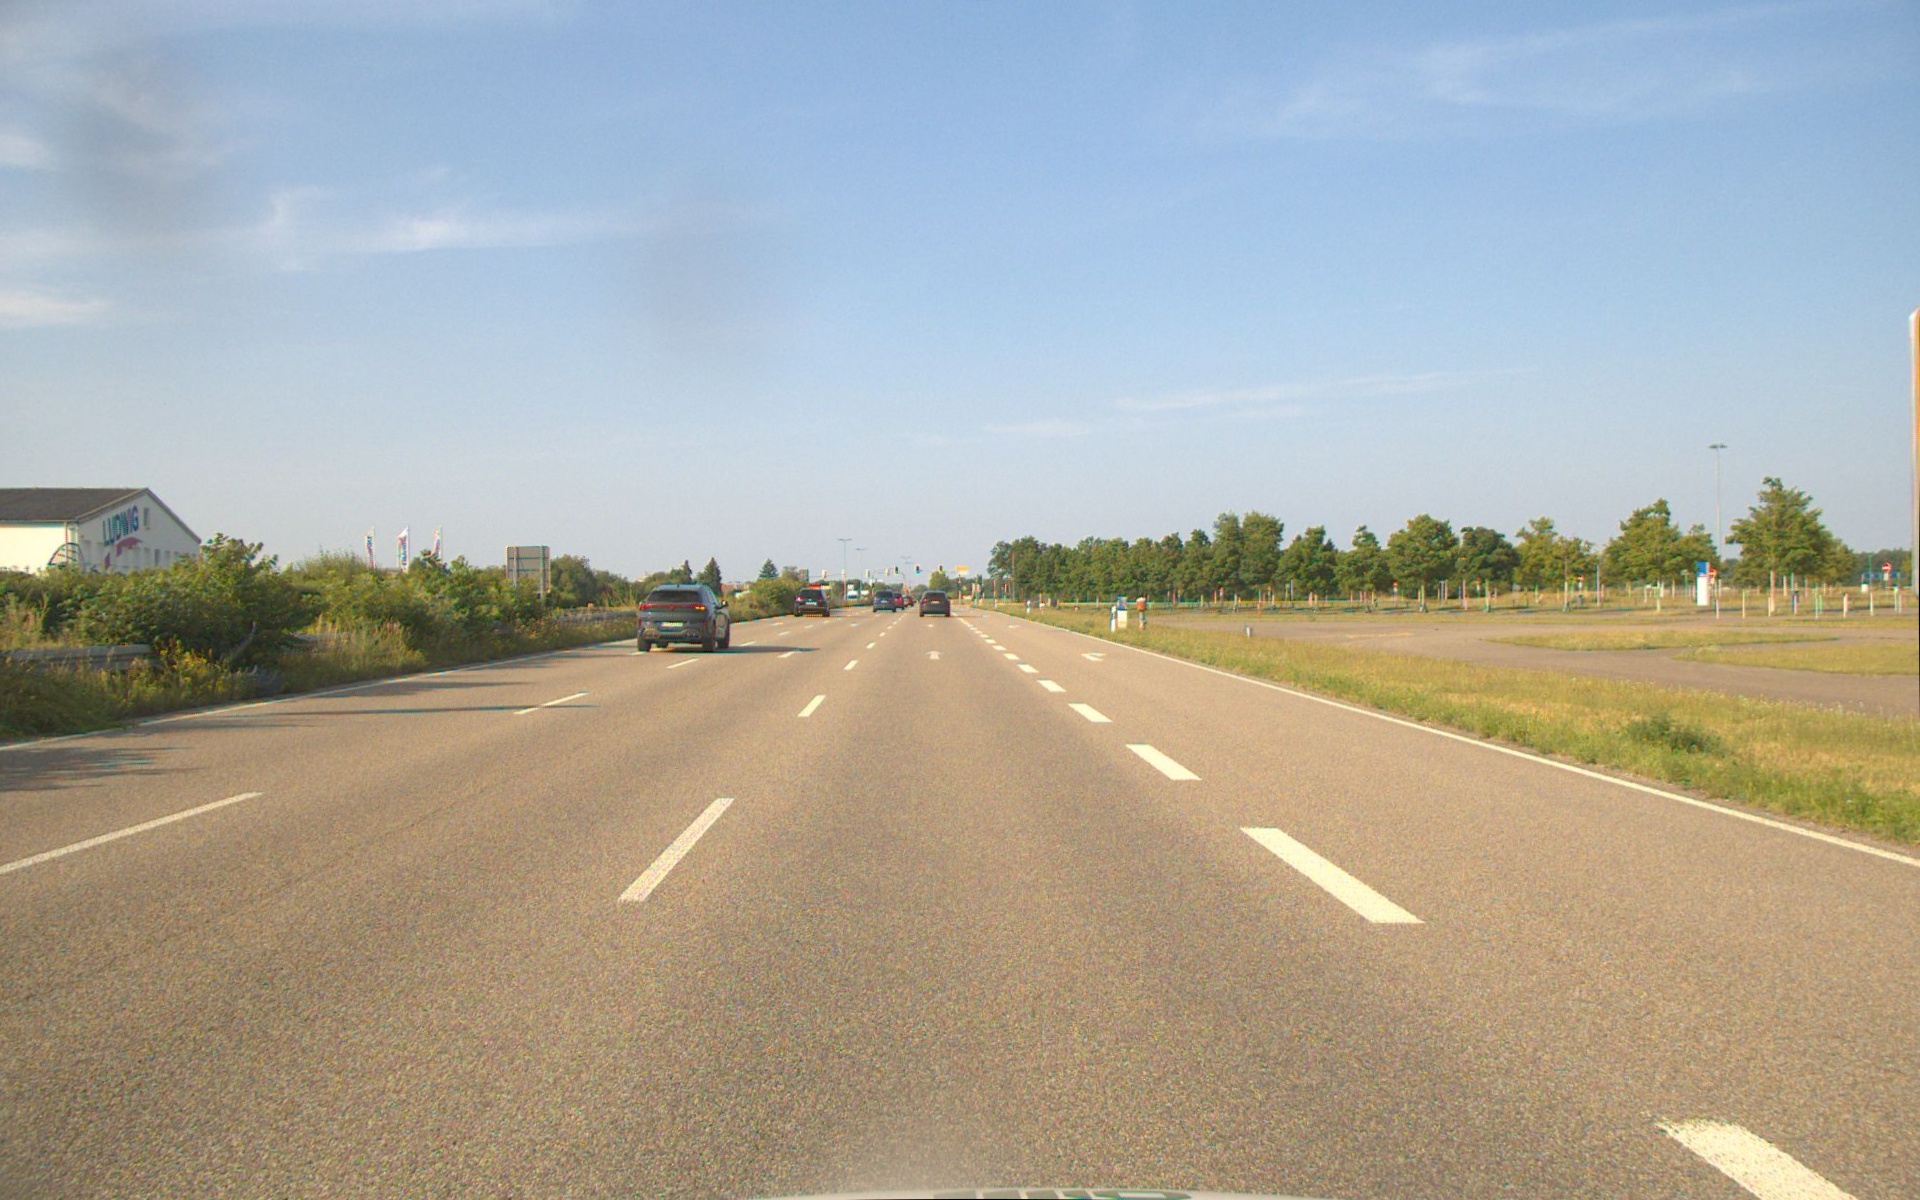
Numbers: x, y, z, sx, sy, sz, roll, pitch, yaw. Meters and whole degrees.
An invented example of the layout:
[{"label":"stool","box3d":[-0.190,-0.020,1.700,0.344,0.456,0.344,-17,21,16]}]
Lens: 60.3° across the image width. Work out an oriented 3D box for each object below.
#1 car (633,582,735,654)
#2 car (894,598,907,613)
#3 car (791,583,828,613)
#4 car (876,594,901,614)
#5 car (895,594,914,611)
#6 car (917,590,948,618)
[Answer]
[{"label":"car","box3d":[-6.723,0.411,40.664,1.808,1.640,4.399,2,0,-1]},{"label":"car","box3d":[-7.172,0.708,199.779,1.612,1.758,3.400,1,-1,-2]},{"label":"car","box3d":[-8.978,-0.122,99.107,1.893,1.709,4.399,2,0,-1]},{"label":"car","box3d":[-5.471,0.276,127.429,1.776,1.489,4.399,2,0,-1]},{"label":"car","box3d":[-5.112,0.228,152.450,1.614,1.489,3.979,2,0,-1]},{"label":"car","box3d":[-1.760,0.252,104.417,1.893,1.709,4.399,2,0,-1]}]
